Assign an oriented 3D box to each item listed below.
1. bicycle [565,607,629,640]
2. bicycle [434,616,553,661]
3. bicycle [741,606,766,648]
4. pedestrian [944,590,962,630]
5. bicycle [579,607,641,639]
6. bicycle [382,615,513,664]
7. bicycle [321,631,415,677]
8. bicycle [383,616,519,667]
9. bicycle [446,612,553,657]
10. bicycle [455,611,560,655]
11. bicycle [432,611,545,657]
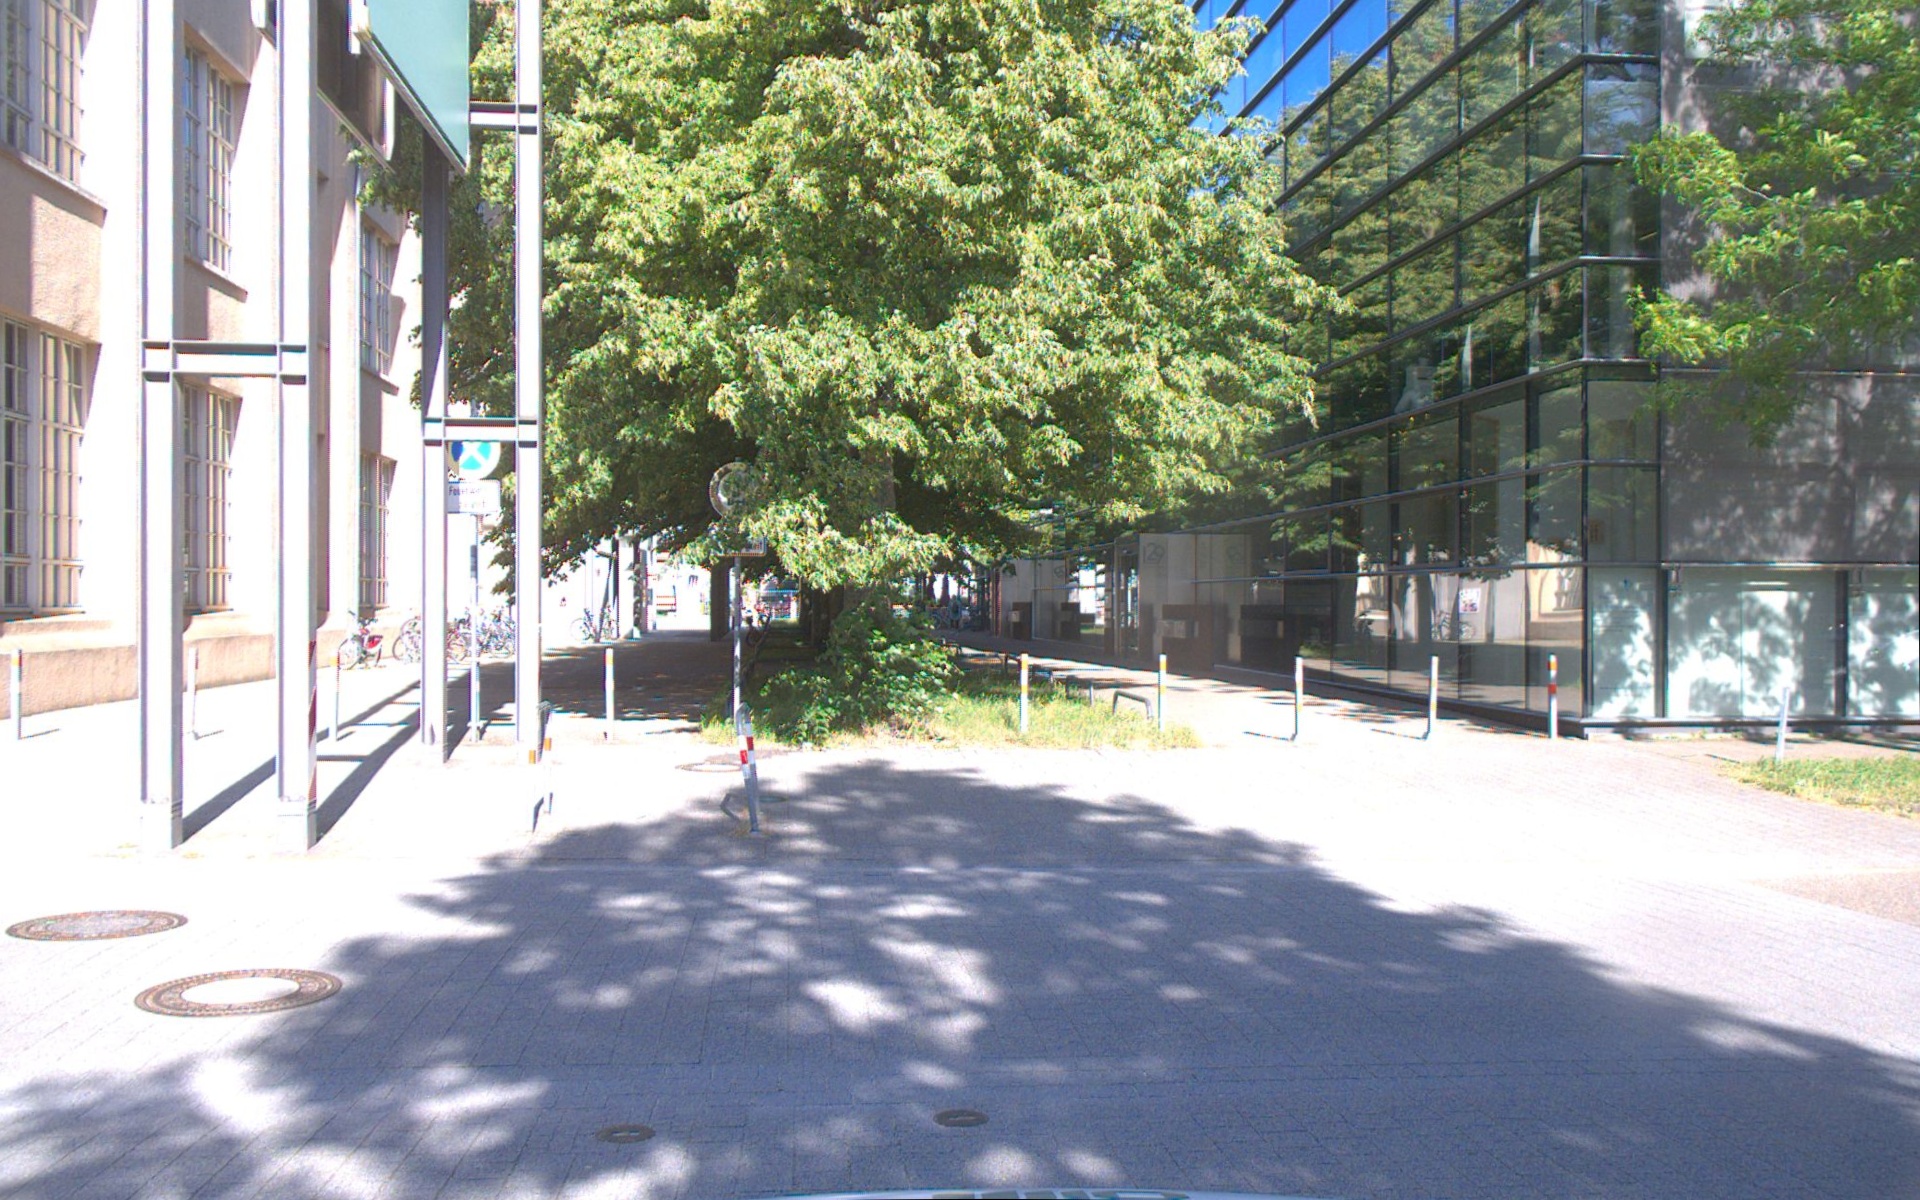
[{"bbox_3d":[-12.219,0.795,55.697,2.017,1.085,0.506,0,0,-4],"label":"bicycle"},{"bbox_3d":[-11.431,0.931,40.588,2.750,1.081,0.717,0,0,-11],"label":"bicycle"},{"bbox_3d":[-6.338,0.809,50.672,0.608,1.218,2.126,0,0,-11],"label":"bicycle"},{"bbox_3d":[-0.268,0.390,64.562,0.702,1.577,0.690,0,0,0],"label":"pedestrian"},{"bbox_3d":[-11.928,0.770,56.420,2.017,1.085,0.506,0,0,-4],"label":"bicycle"},{"bbox_3d":[-11.636,0.888,37.608,2.746,1.081,0.718,0,0,-6],"label":"bicycle"},{"bbox_3d":[-11.849,1.059,33.228,0.762,0.806,2.885,0,0,2],"label":"bicycle"},{"bbox_3d":[-11.038,0.904,35.965,2.750,1.081,0.717,0,0,-11],"label":"bicycle"},{"bbox_3d":[-12.305,0.911,44.264,2.682,1.171,0.717,0,0,-11],"label":"bicycle"},{"bbox_3d":[-12.303,0.894,45.058,2.682,1.171,0.717,0,0,-11],"label":"bicycle"},{"bbox_3d":[-12.188,0.868,42.854,2.750,1.171,0.717,0,0,-11],"label":"bicycle"}]
